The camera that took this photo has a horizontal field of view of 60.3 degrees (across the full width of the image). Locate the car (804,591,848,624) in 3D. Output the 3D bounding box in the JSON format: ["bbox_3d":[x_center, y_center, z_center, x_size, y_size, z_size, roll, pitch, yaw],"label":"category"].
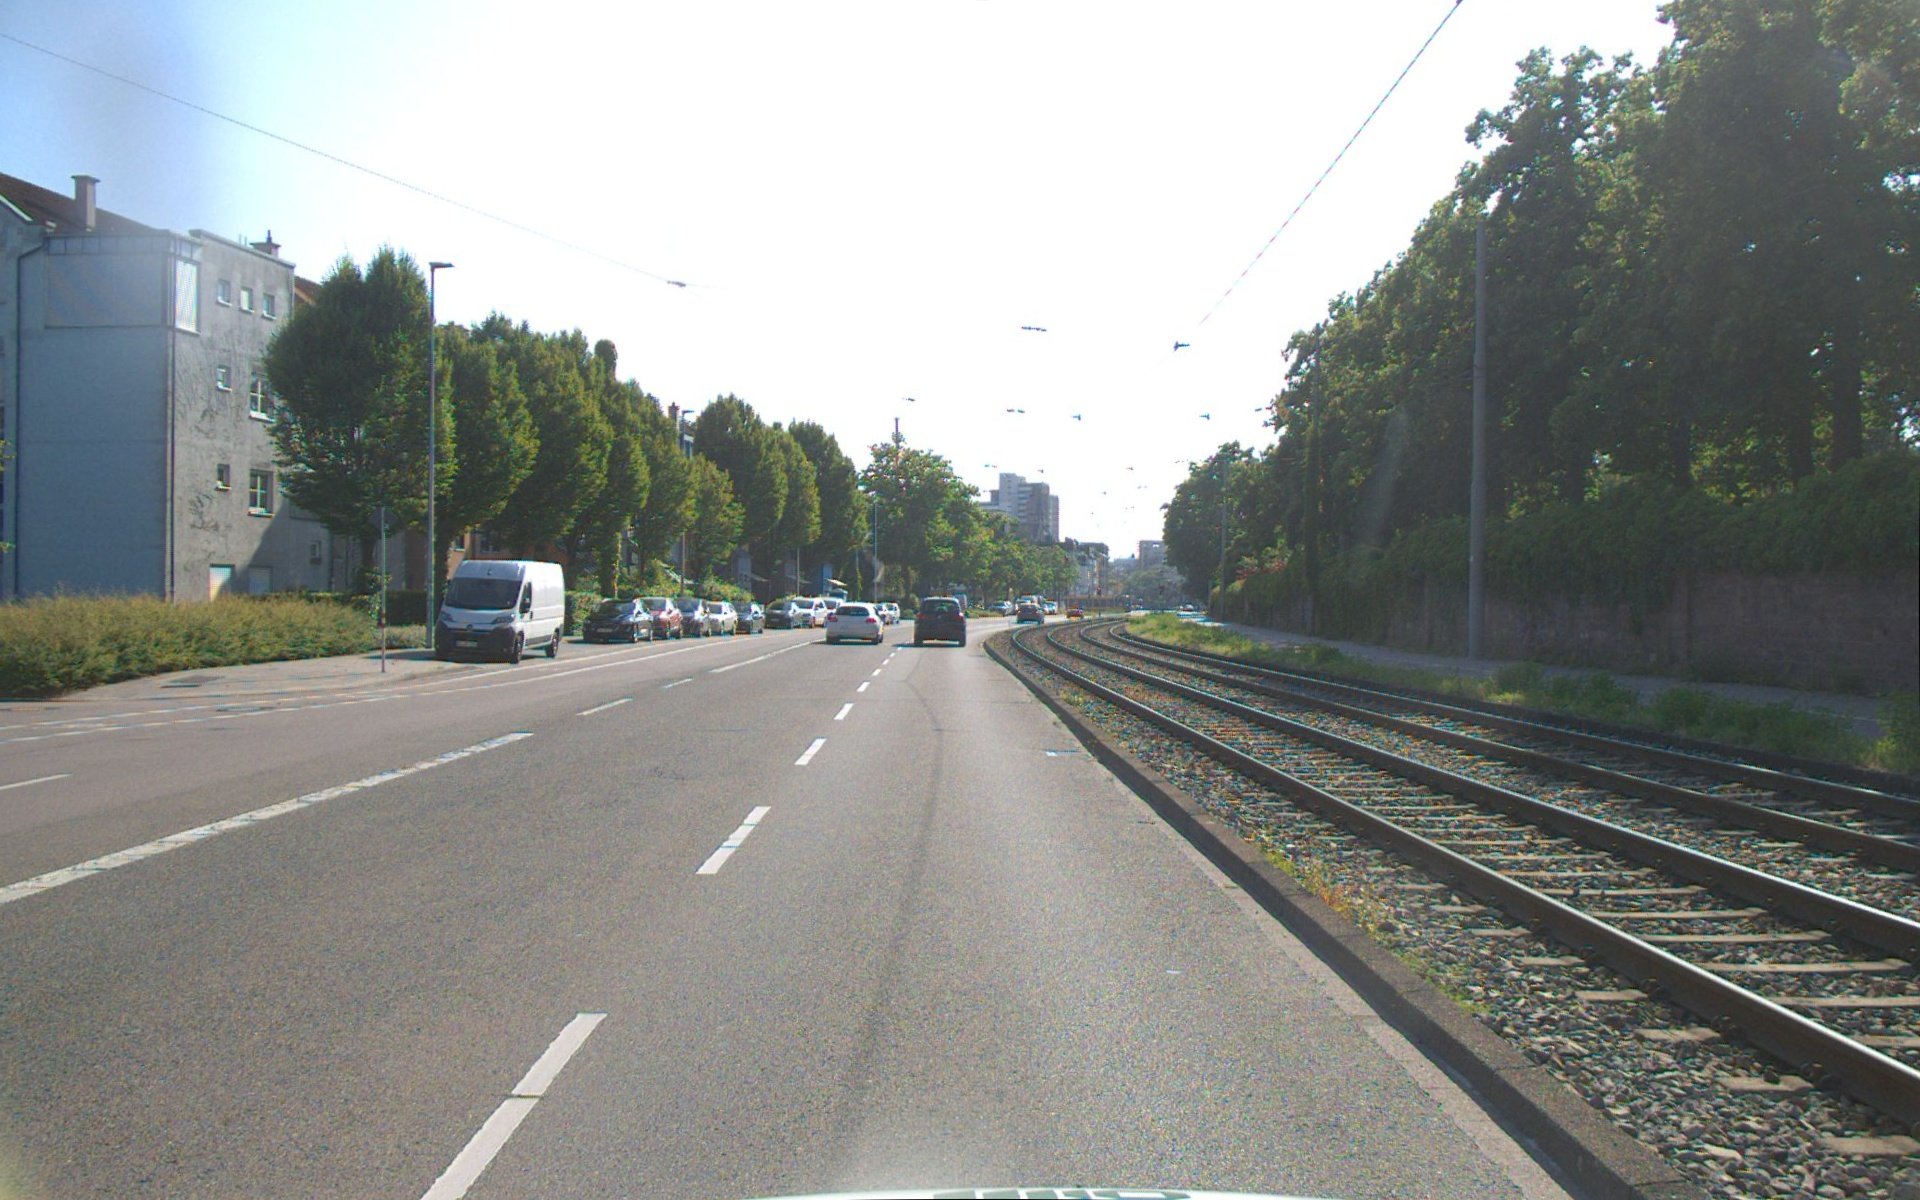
[{"bbox_3d":[-8.303,0.476,103.079,1.726,1.877,4.583,5,0,6],"label":"car"}]

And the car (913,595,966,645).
[{"bbox_3d":[-0.677,0.684,57.702,1.774,1.673,4.000,1,0,0],"label":"car"}]

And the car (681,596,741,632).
[{"bbox_3d":[-11.163,0.662,74.354,1.677,1.497,4.846,2,-1,3],"label":"car"}]

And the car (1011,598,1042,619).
[{"bbox_3d":[4.856,0.632,120.811,1.773,1.474,4.003,2,0,9],"label":"car"}]

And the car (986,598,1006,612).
[{"bbox_3d":[4.221,0.589,192.727,1.695,1.687,4.003,0,0,10],"label":"car"}]

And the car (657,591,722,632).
[{"bbox_3d":[-11.282,0.490,69.208,1.726,1.601,4.300,2,0,3],"label":"car"}]

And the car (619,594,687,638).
[{"bbox_3d":[-11.673,0.624,63.175,1.726,1.601,4.162,0,-1,1],"label":"car"}]

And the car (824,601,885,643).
[{"bbox_3d":[-3.621,0.739,57.154,1.826,1.371,4.000,1,0,0],"label":"car"}]

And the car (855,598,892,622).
[{"bbox_3d":[-6.098,0.697,117.337,1.726,1.565,3.984,5,0,8],"label":"car"}]

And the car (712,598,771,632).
[{"bbox_3d":[-10.569,0.701,80.213,1.673,1.497,4.913,2,0,6],"label":"car"}]

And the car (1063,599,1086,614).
[{"bbox_3d":[11.597,0.667,166.700,1.773,1.474,4.003,2,0,11],"label":"car"}]

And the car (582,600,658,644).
[{"bbox_3d":[-11.777,0.737,57.568,1.618,1.449,4.713,0,0,1],"label":"car"}]

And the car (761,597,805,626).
[{"bbox_3d":[-9.788,0.620,91.551,1.582,1.491,4.061,2,0,6],"label":"car"}]

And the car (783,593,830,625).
[{"bbox_3d":[-8.963,0.513,96.881,1.633,1.730,4.828,2,0,8],"label":"car"}]

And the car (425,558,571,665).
[{"bbox_3d":[-11.819,0.257,42.800,2.109,2.500,6.182,2,0,-2],"label":"car"}]
